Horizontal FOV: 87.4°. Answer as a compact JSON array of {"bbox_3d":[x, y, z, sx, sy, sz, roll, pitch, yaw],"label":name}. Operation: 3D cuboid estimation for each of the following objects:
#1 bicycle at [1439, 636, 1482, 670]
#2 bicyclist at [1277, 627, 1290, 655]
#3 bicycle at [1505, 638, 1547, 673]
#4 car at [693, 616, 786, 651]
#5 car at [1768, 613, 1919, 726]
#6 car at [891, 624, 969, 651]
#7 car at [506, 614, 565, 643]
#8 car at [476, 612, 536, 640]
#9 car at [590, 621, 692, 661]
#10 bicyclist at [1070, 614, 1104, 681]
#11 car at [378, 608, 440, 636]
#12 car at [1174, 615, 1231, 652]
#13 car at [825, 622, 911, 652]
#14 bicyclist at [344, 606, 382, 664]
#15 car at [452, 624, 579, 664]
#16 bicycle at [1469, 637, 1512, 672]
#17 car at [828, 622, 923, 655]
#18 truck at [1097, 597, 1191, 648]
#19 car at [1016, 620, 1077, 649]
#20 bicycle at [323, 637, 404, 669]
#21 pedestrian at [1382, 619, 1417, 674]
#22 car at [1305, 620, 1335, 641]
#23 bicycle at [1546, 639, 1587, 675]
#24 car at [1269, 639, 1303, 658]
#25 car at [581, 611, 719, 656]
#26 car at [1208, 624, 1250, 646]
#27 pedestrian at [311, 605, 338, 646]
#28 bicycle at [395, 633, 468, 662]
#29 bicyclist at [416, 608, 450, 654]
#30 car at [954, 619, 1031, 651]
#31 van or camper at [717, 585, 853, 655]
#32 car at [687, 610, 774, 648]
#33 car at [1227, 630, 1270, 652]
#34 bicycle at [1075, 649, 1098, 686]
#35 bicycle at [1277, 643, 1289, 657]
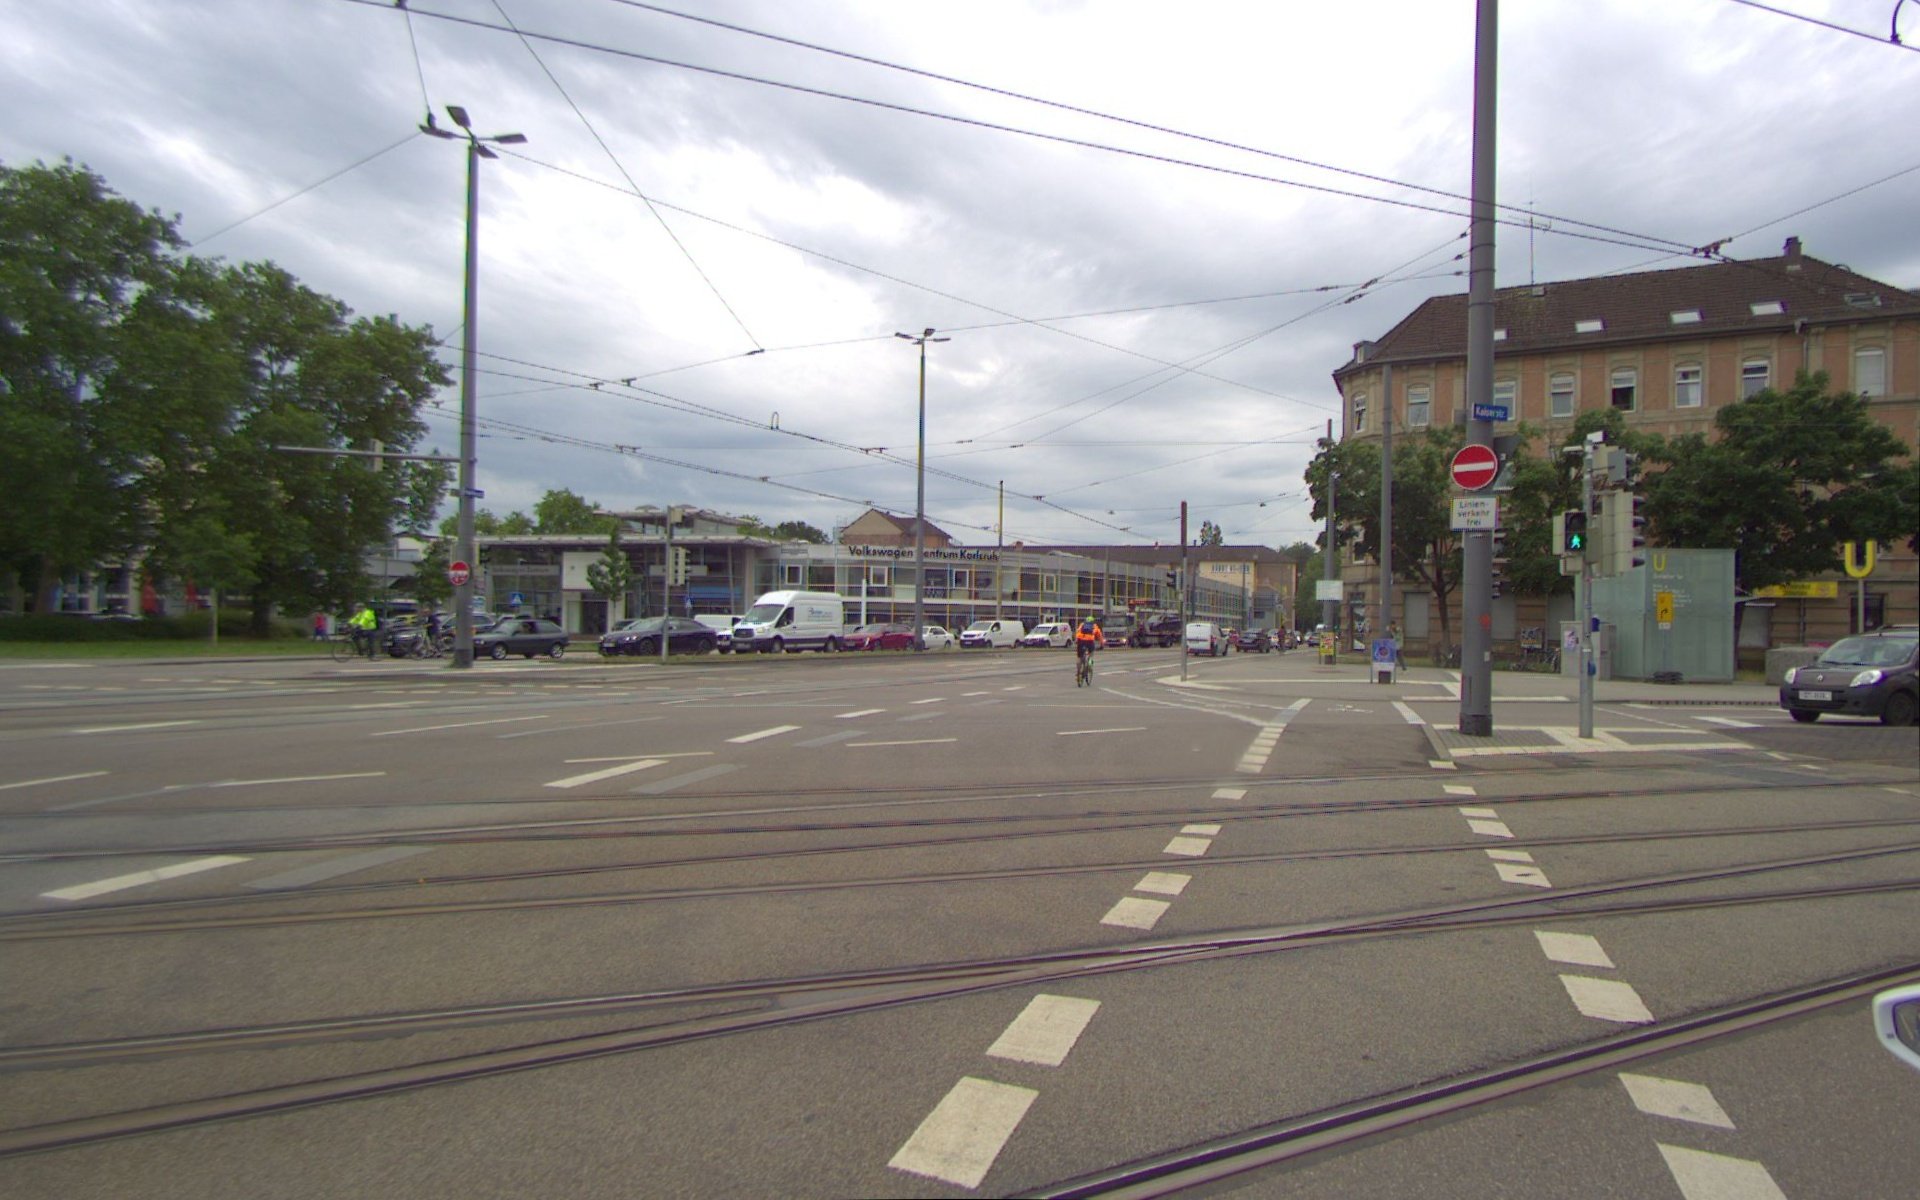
[{"bbox_3d":[21.325,2.249,42.759,0.946,1.372,3.107,1,-2,40],"label":"bicycle"},{"bbox_3d":[19.726,2.491,61.226,0.676,1.730,0.799,1,-1,15],"label":"bicyclist"},{"bbox_3d":[23.342,2.293,41.386,0.946,1.372,3.107,1,-2,40],"label":"bicycle"},{"bbox_3d":[-9.688,1.491,44.420,1.611,1.439,4.263,0,-1,29],"label":"car"},{"bbox_3d":[17.330,1.264,18.403,4.312,1.925,1.690,2,-1,-14],"label":"car"},{"bbox_3d":[-1.650,2.143,57.414,1.967,1.439,4.734,0,-2,36],"label":"car"},{"bbox_3d":[-31.862,2.162,75.504,1.960,2.040,4.002,2,-1,15],"label":"car"},{"bbox_3d":[-34.503,1.997,76.445,1.960,2.040,4.002,2,-1,15],"label":"car"},{"bbox_3d":[-12.279,1.570,38.857,1.610,1.439,3.734,1,-1,26],"label":"car"},{"bbox_3d":[3.209,1.184,25.355,0.813,1.642,1.322,1,-1,8],"label":"bicyclist"},{"bbox_3d":[-42.774,1.706,78.097,1.960,2.040,4.002,2,-1,15],"label":"car"},{"bbox_3d":[13.316,1.825,55.006,1.884,1.966,4.123,0,-1,30],"label":"car"},{"bbox_3d":[-4.783,1.943,52.900,1.966,1.439,4.788,0,-2,33],"label":"car"},{"bbox_3d":[-18.939,1.109,31.873,0.618,1.827,0.796,0,-1,31],"label":"bicyclist"},{"bbox_3d":[-15.064,1.484,34.230,1.660,1.263,3.734,0,-1,26],"label":"car"},{"bbox_3d":[22.268,2.270,42.106,0.946,1.372,3.107,1,-2,40],"label":"bicycle"},{"bbox_3d":[-3.948,1.807,47.749,1.966,1.439,4.788,0,-2,33],"label":"car"},{"bbox_3d":[14.490,1.820,78.456,2.762,3.596,9.176,1,-2,42],"label":"truck"},{"bbox_3d":[5.910,2.366,68.031,1.969,1.863,4.504,0,-2,38],"label":"car"},{"bbox_3d":[-18.932,1.677,31.926,0.511,0.942,2.218,0,-1,31],"label":"bicycle"},{"bbox_3d":[14.275,1.507,32.617,0.894,1.751,0.603,1,-1,8],"label":"pedestrian"},{"bbox_3d":[36.136,3.058,100.735,1.965,2.040,3.992,1,-2,31],"label":"car"},{"bbox_3d":[24.707,2.335,40.903,0.946,1.372,3.107,1,-2,40],"label":"bicycle"},{"bbox_3d":[27.475,4.099,84.546,1.826,1.528,3.992,1,-2,31],"label":"car"},{"bbox_3d":[-10.750,1.150,35.198,1.963,1.439,4.657,0,-1,26],"label":"car"},{"bbox_3d":[23.757,3.062,88.637,1.969,1.863,4.504,0,-2,38],"label":"car"},{"bbox_3d":[-30.997,1.246,49.006,0.699,1.925,0.858,1,-1,40],"label":"pedestrian"},{"bbox_3d":[-17.768,1.582,33.832,0.511,0.938,2.218,0,-1,31],"label":"bicycle"},{"bbox_3d":[-17.756,1.039,33.827,0.557,1.528,0.855,0,0,31],"label":"bicyclist"},{"bbox_3d":[2.066,2.163,62.589,2.128,1.881,5.429,0,-2,36],"label":"car"},{"bbox_3d":[-7.180,0.878,42.039,2.378,2.645,6.045,2,-2,27],"label":"van or camper"},{"bbox_3d":[-13.454,1.677,58.842,4.693,2.040,2.119,2,-1,27],"label":"car"},{"bbox_3d":[19.411,2.748,67.571,1.964,1.439,3.994,0,-2,28],"label":"car"},{"bbox_3d":[3.207,1.689,25.396,0.547,0.859,2.075,1,-2,8],"label":"bicycle"},{"bbox_3d":[19.708,3.039,61.212,0.608,0.804,1.593,1,-1,15],"label":"bicycle"}]
